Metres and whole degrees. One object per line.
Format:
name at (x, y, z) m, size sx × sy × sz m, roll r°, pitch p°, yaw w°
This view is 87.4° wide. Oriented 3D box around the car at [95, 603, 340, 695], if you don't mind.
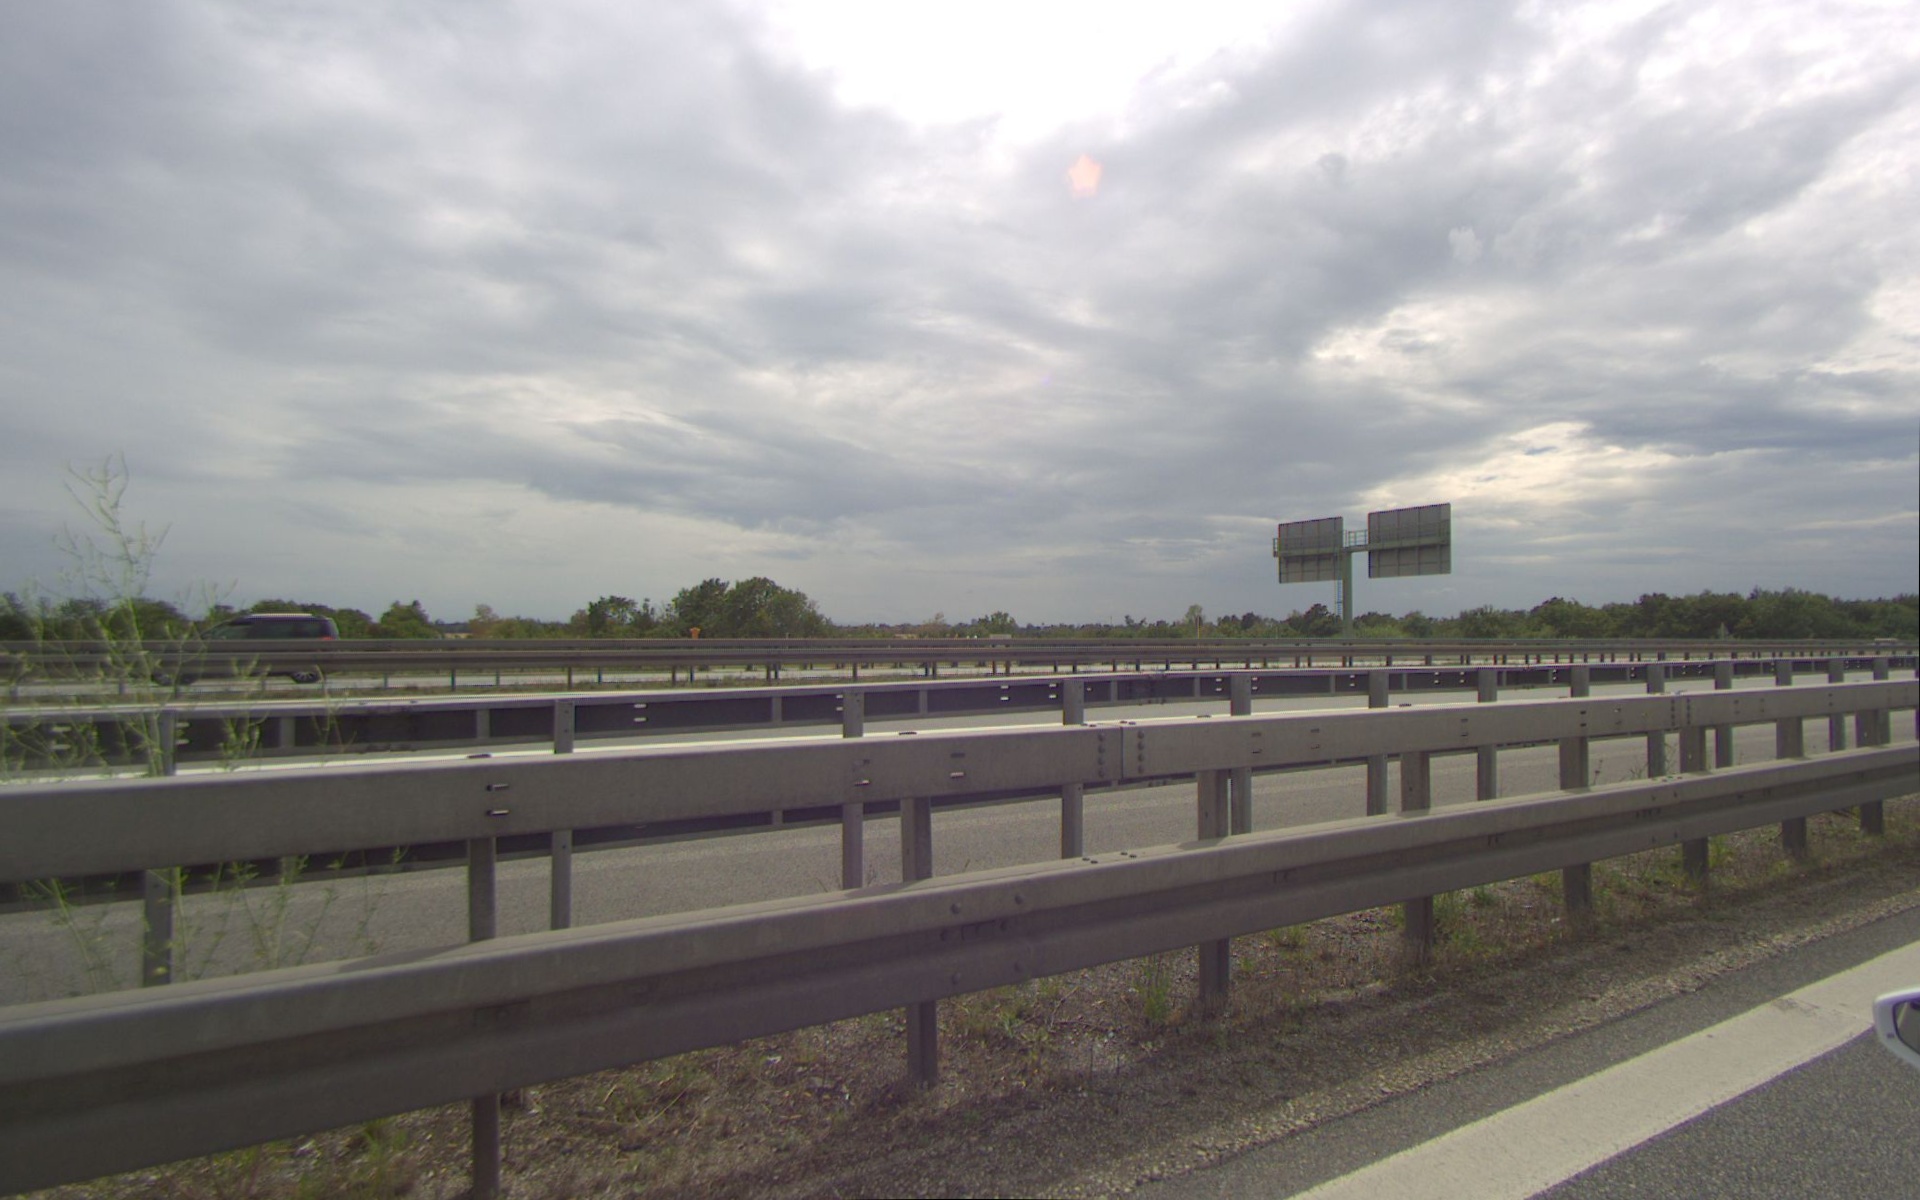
car at (-17.412, 1.099, 23.883) m, size 4.450 × 1.888 × 1.984 m, roll 1°, pitch 3°, yaw -30°
